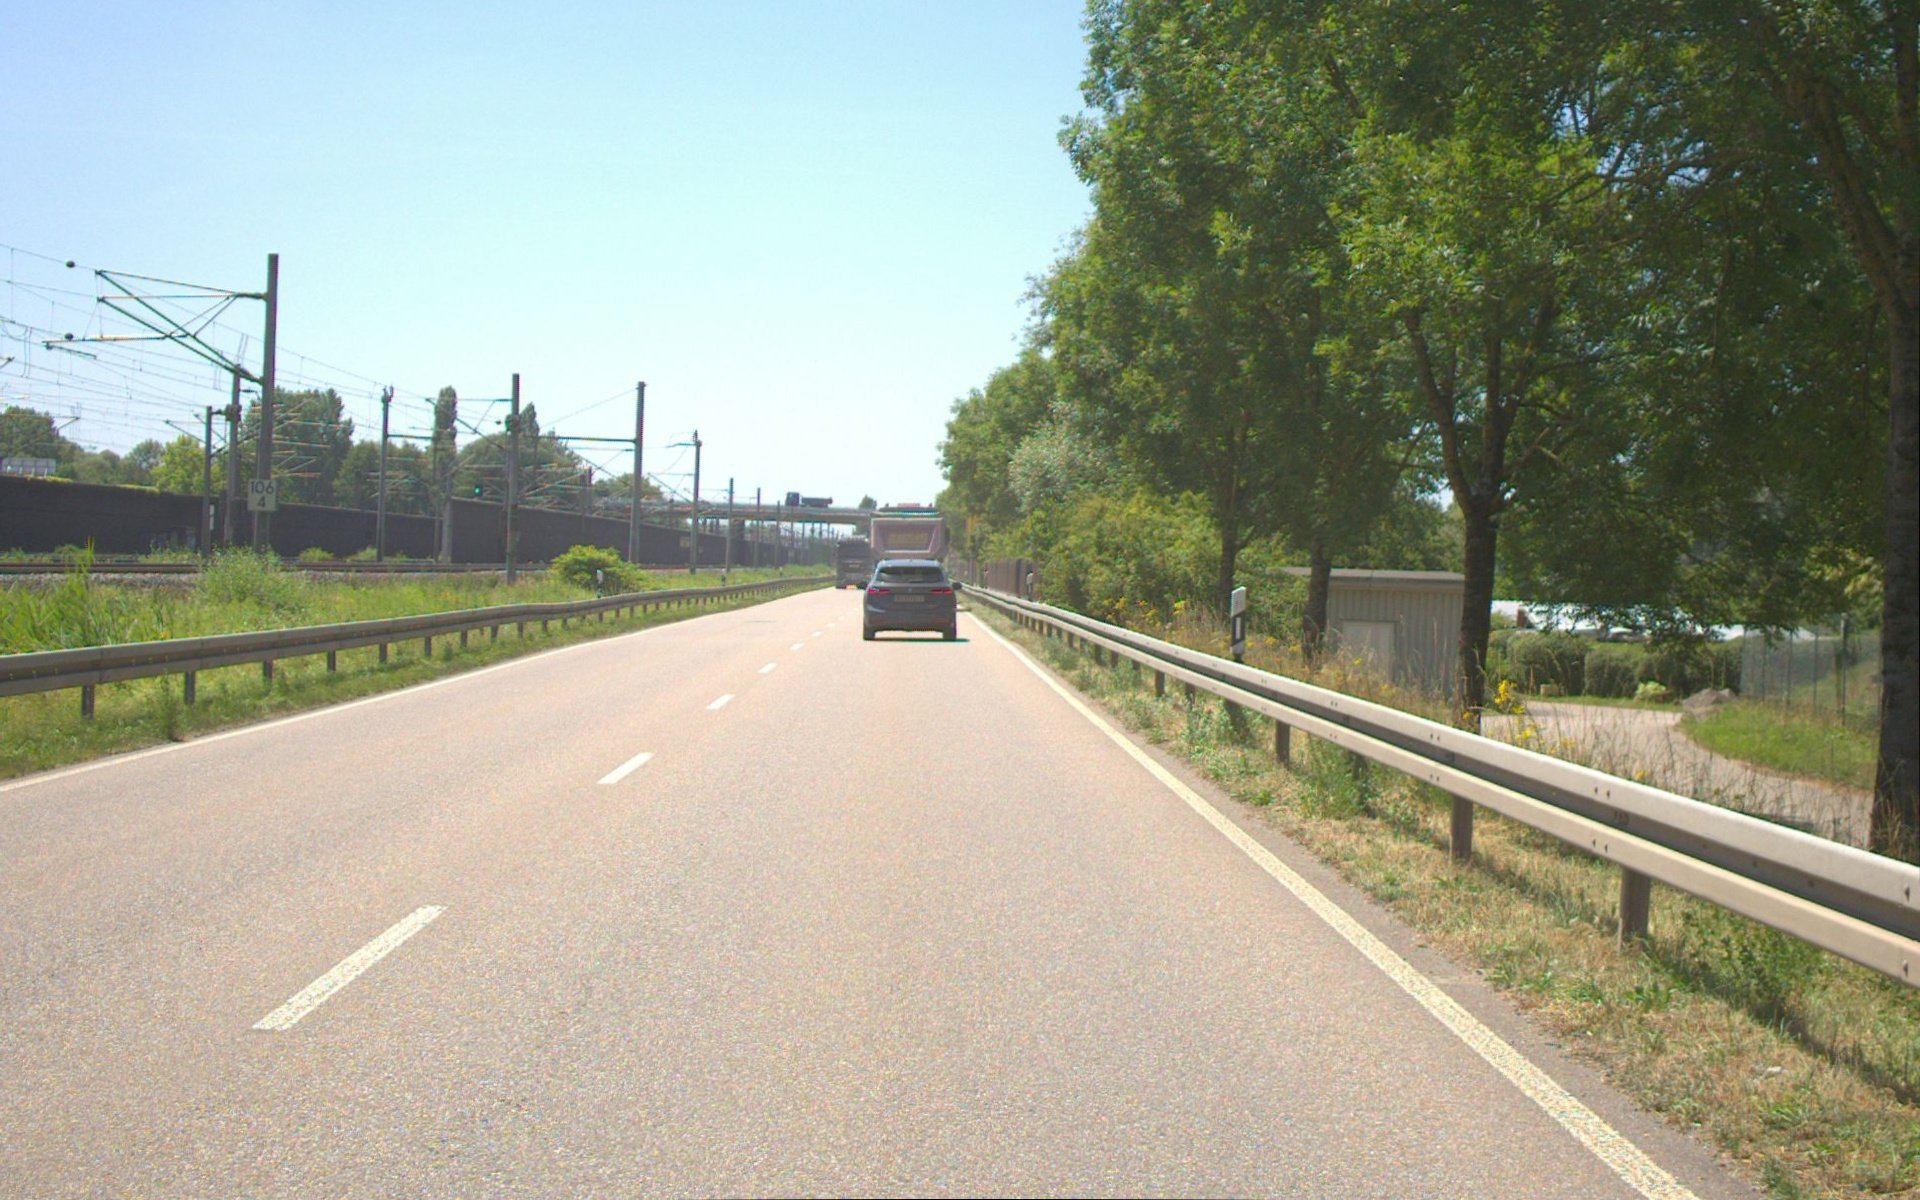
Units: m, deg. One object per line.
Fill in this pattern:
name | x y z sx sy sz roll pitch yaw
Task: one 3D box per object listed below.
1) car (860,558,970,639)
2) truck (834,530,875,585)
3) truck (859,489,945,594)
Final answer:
car | -0.910 -0.060 67.232 1.993 1.503 4.001 0 1 -3
truck | -7.185 -2.923 235.032 2.658 3.614 10.979 1 1 -2
truck | -1.983 -1.992 119.104 2.770 3.414 10.820 1 1 -1
